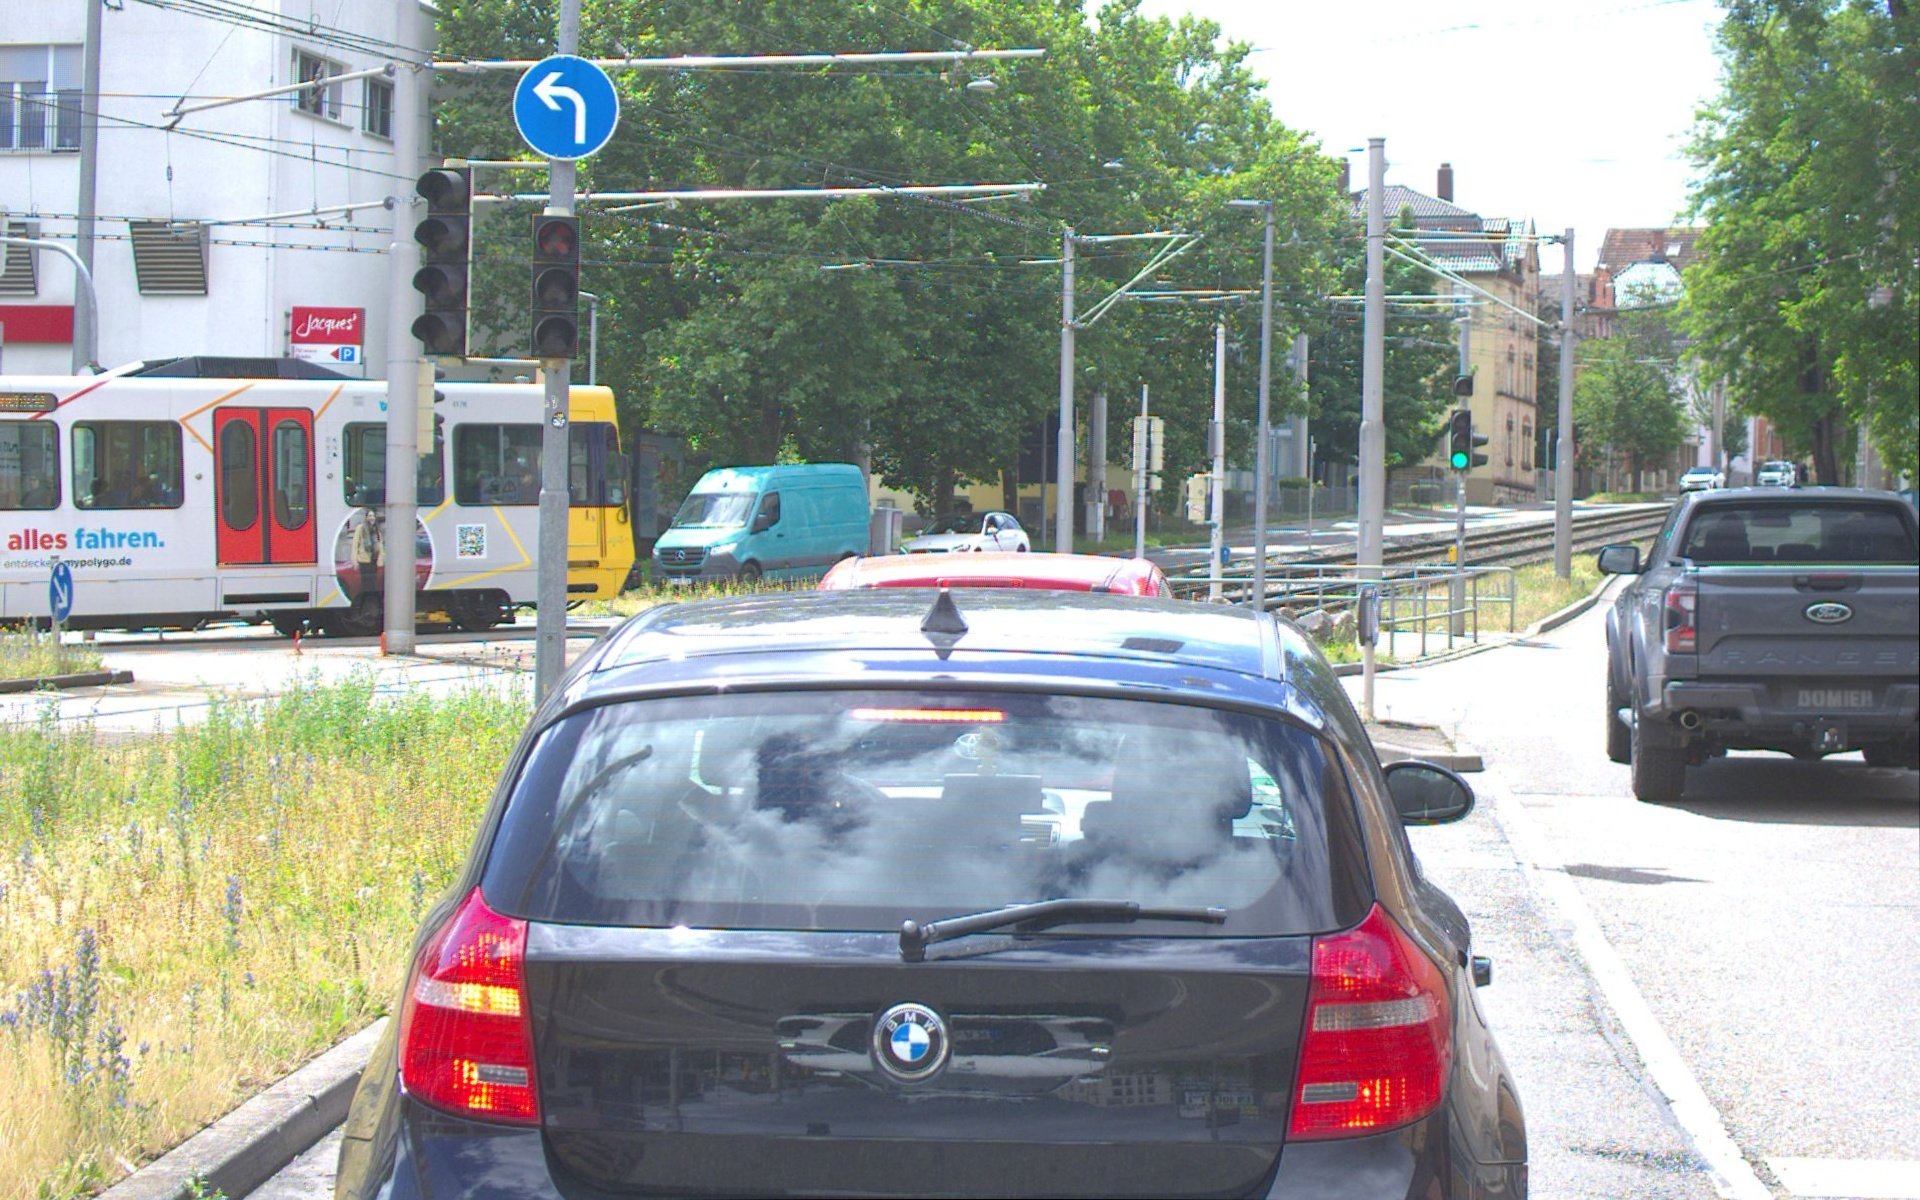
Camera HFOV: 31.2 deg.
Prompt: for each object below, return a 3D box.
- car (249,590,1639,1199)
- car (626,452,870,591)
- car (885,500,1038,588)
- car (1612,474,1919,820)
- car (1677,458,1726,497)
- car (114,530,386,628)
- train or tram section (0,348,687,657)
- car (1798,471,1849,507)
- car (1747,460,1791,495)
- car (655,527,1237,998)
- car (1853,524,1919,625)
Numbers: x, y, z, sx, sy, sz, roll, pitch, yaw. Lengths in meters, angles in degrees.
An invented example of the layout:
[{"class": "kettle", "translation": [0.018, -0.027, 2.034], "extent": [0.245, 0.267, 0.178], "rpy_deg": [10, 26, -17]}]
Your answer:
[{"class": "car", "translation": [-0.107, 0.713, 6.213], "extent": [1.701, 1.447, 4.000], "rpy_deg": [0, 0, -3]}, {"class": "car", "translation": [-4.185, -1.522, 68.968], "extent": [2.134, 2.645, 5.681], "rpy_deg": [0, 0, 29]}, {"class": "car", "translation": [0.078, -1.236, 78.001], "extent": [1.855, 1.921, 4.792], "rpy_deg": [0, 0, 21]}, {"class": "car", "translation": [5.123, 0.246, 21.324], "extent": [2.000, 1.880, 5.148], "rpy_deg": [0, 0, 10]}, {"class": "car", "translation": [40.498, -6.666, 187.740], "extent": [1.996, 2.007, 3.996], "rpy_deg": [0, 0, 21]}, {"class": "car", "translation": [-11.810, -0.350, 57.382], "extent": [1.857, 1.579, 4.160], "rpy_deg": [0, 0, 41]}, {"class": "train or tram section", "translation": [-12.784, -1.194, 43.962], "extent": [19.992, 3.801, 3.760], "rpy_deg": [-1, 0, -40]}, {"class": "car", "translation": [36.719, -4.696, 146.128], "extent": [1.817, 1.463, 3.997], "rpy_deg": [0, 1, 18]}, {"class": "car", "translation": [48.730, -7.372, 207.038], "extent": [1.996, 2.007, 3.996], "rpy_deg": [0, 0, 21]}, {"class": "car", "translation": [0.105, 0.503, 12.811], "extent": [1.625, 1.468, 3.999], "rpy_deg": [0, 0, 8]}, {"class": "car", "translation": [15.542, -0.412, 56.031], "extent": [1.788, 1.590, 3.998], "rpy_deg": [0, 0, 13]}]
